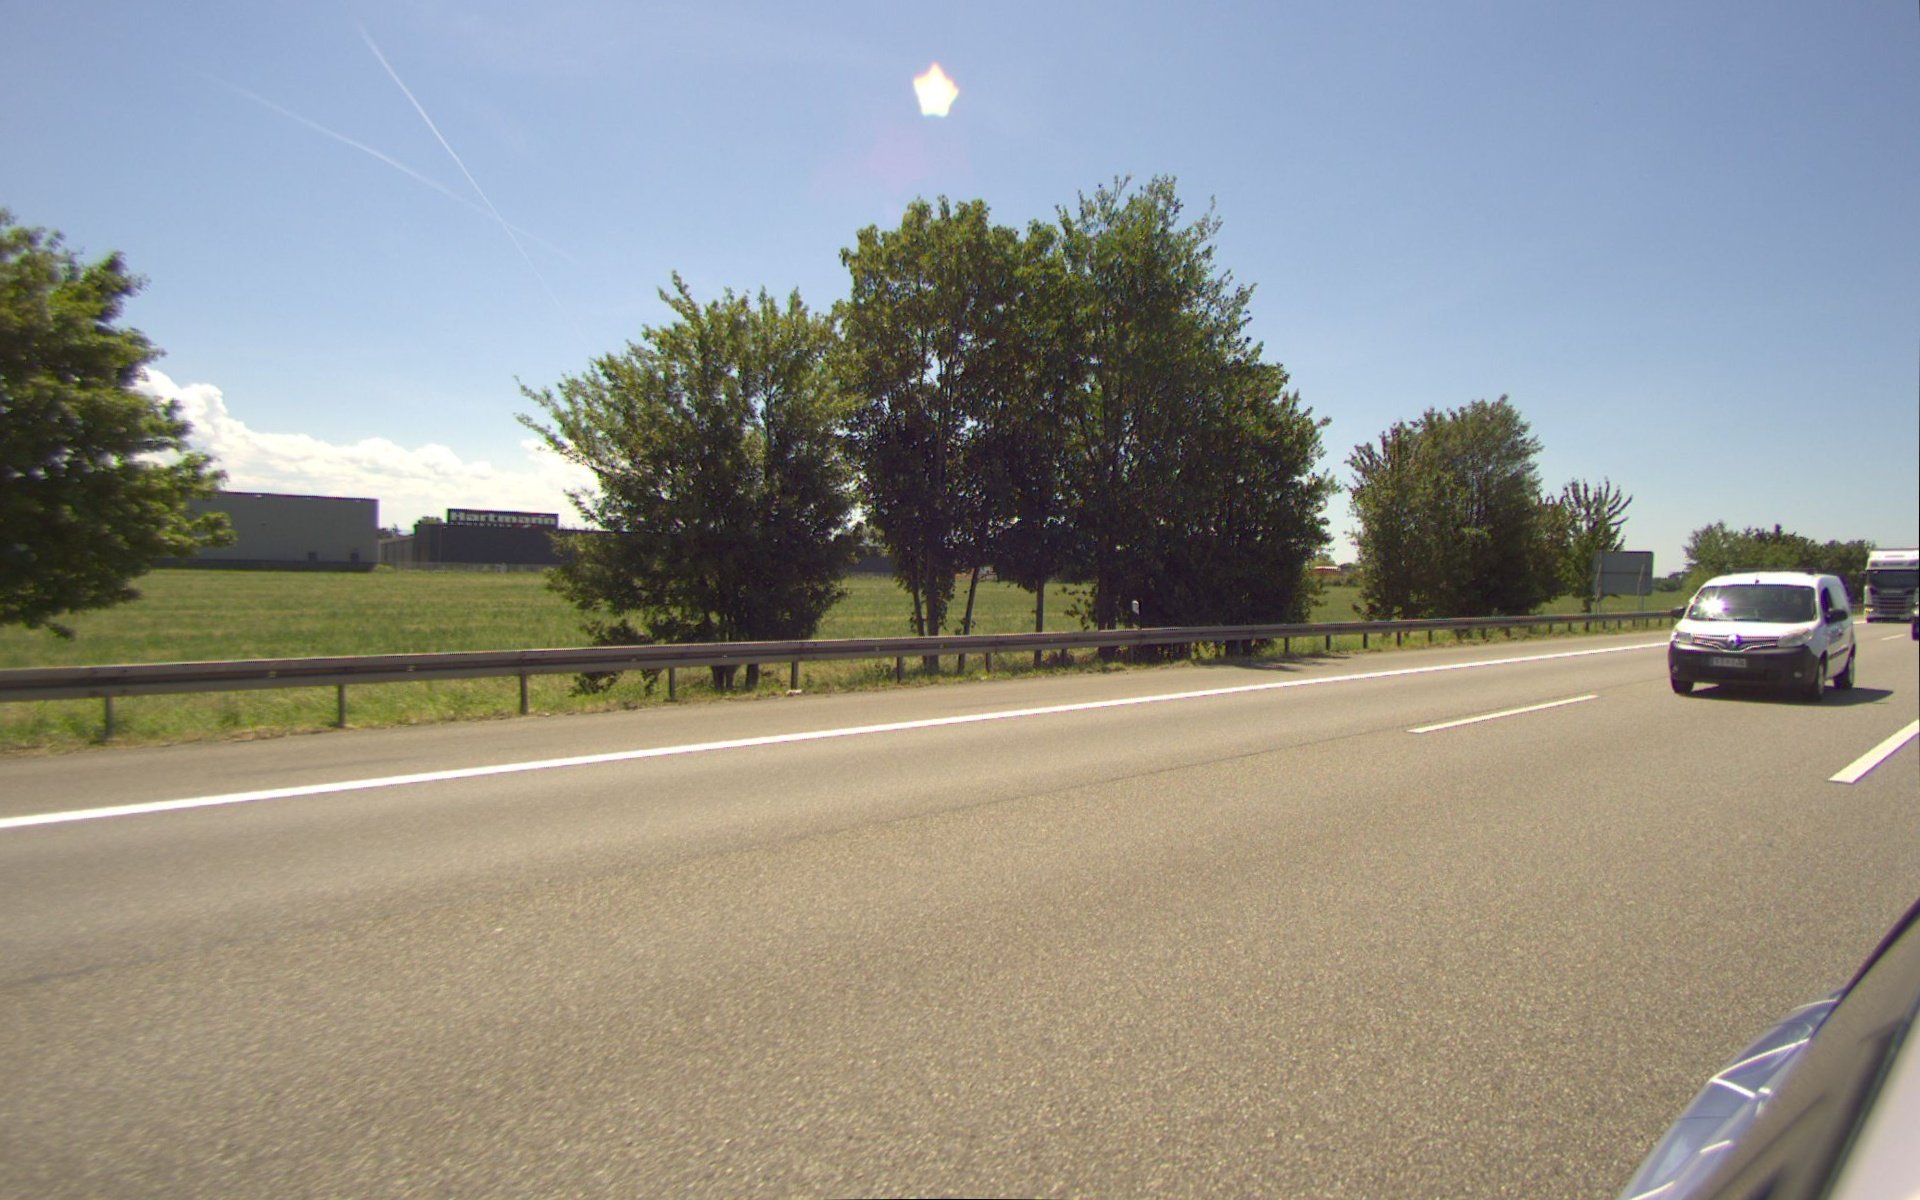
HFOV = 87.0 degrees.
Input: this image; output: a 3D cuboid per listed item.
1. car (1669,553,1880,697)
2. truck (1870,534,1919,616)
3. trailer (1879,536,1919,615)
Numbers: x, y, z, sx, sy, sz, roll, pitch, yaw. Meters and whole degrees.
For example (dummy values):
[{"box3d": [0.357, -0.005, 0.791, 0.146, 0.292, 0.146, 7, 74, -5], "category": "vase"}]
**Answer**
[{"box3d": [12.588, 0.319, 15.527, 4.622, 1.886, 1.855, 0, 0, -43], "category": "car"}, {"box3d": [53.077, -1.346, 56.246, 7.067, 4.359, 2.815, 0, 0, -41], "category": "truck"}, {"box3d": [57.783, -1.374, 60.284, 14.004, 4.359, 2.815, 0, 0, -41], "category": "trailer"}]
